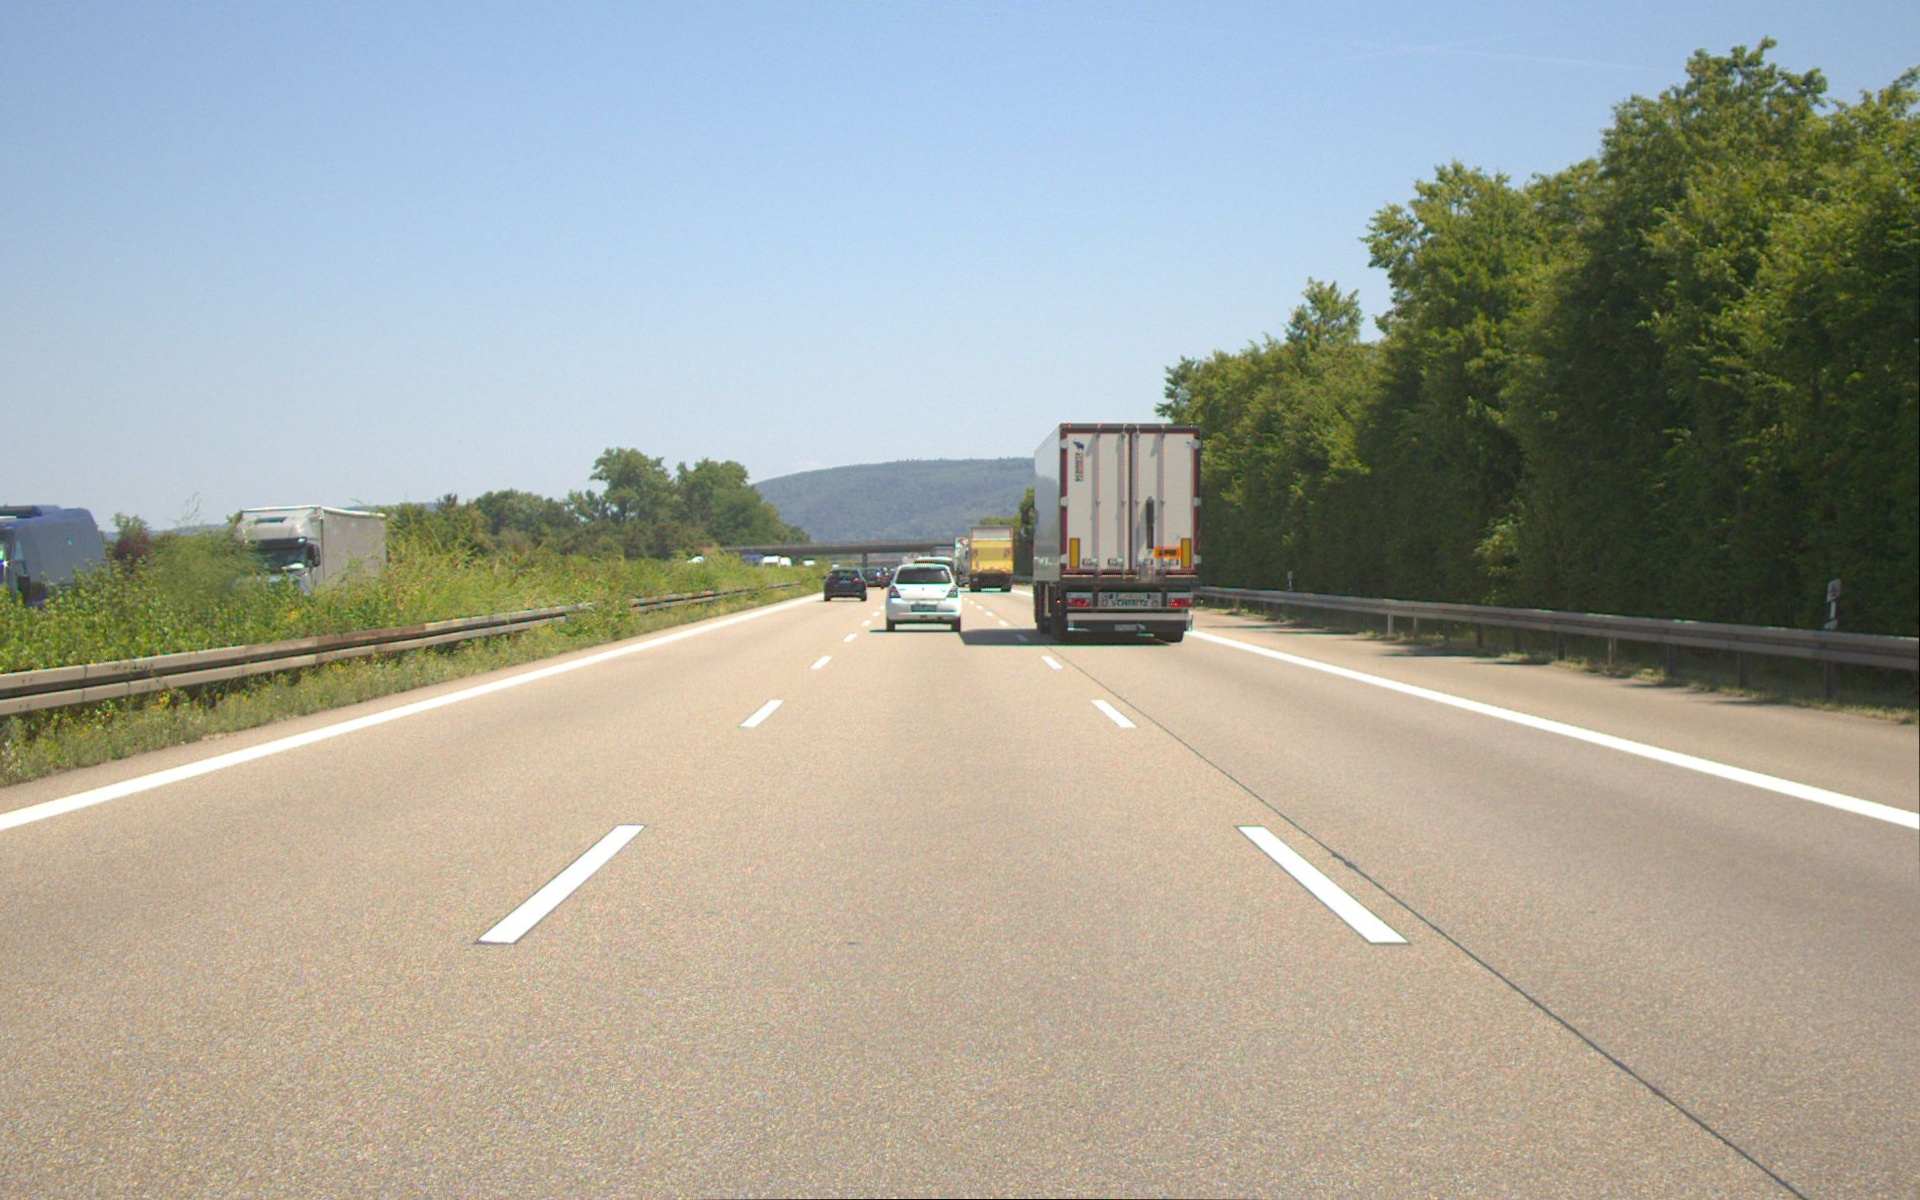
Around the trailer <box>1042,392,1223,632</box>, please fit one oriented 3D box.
[{"bbox_3d":[3.312,-1.693,69.484,3.218,4.330,13.629,1,1,1],"label":"trailer"}]

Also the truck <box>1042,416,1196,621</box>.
[{"bbox_3d":[3.476,-1.794,76.743,3.218,4.330,6.590,1,1,1],"label":"truck"}]

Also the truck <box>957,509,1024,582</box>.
[{"bbox_3d":[1.823,-3.354,213.166,3.871,4.330,13.861,1,1,0],"label":"truck"}]

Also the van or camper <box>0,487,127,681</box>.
[{"bbox_3d":[-16.637,-0.280,57.713,2.610,3.091,11.512,-1,1,-1],"label":"van or camper"}]

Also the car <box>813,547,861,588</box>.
[{"bbox_3d":[-5.227,-1.396,146.468,1.993,1.706,4.000,1,1,-1],"label":"car"}]

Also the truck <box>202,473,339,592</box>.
[{"bbox_3d":[-22.143,-2.152,110.711,3.349,3.686,6.065,1,1,-2],"label":"truck"}]

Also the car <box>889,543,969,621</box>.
[{"bbox_3d":[-0.726,-0.437,77.692,1.732,1.678,4.000,-1,1,-1],"label":"car"}]
